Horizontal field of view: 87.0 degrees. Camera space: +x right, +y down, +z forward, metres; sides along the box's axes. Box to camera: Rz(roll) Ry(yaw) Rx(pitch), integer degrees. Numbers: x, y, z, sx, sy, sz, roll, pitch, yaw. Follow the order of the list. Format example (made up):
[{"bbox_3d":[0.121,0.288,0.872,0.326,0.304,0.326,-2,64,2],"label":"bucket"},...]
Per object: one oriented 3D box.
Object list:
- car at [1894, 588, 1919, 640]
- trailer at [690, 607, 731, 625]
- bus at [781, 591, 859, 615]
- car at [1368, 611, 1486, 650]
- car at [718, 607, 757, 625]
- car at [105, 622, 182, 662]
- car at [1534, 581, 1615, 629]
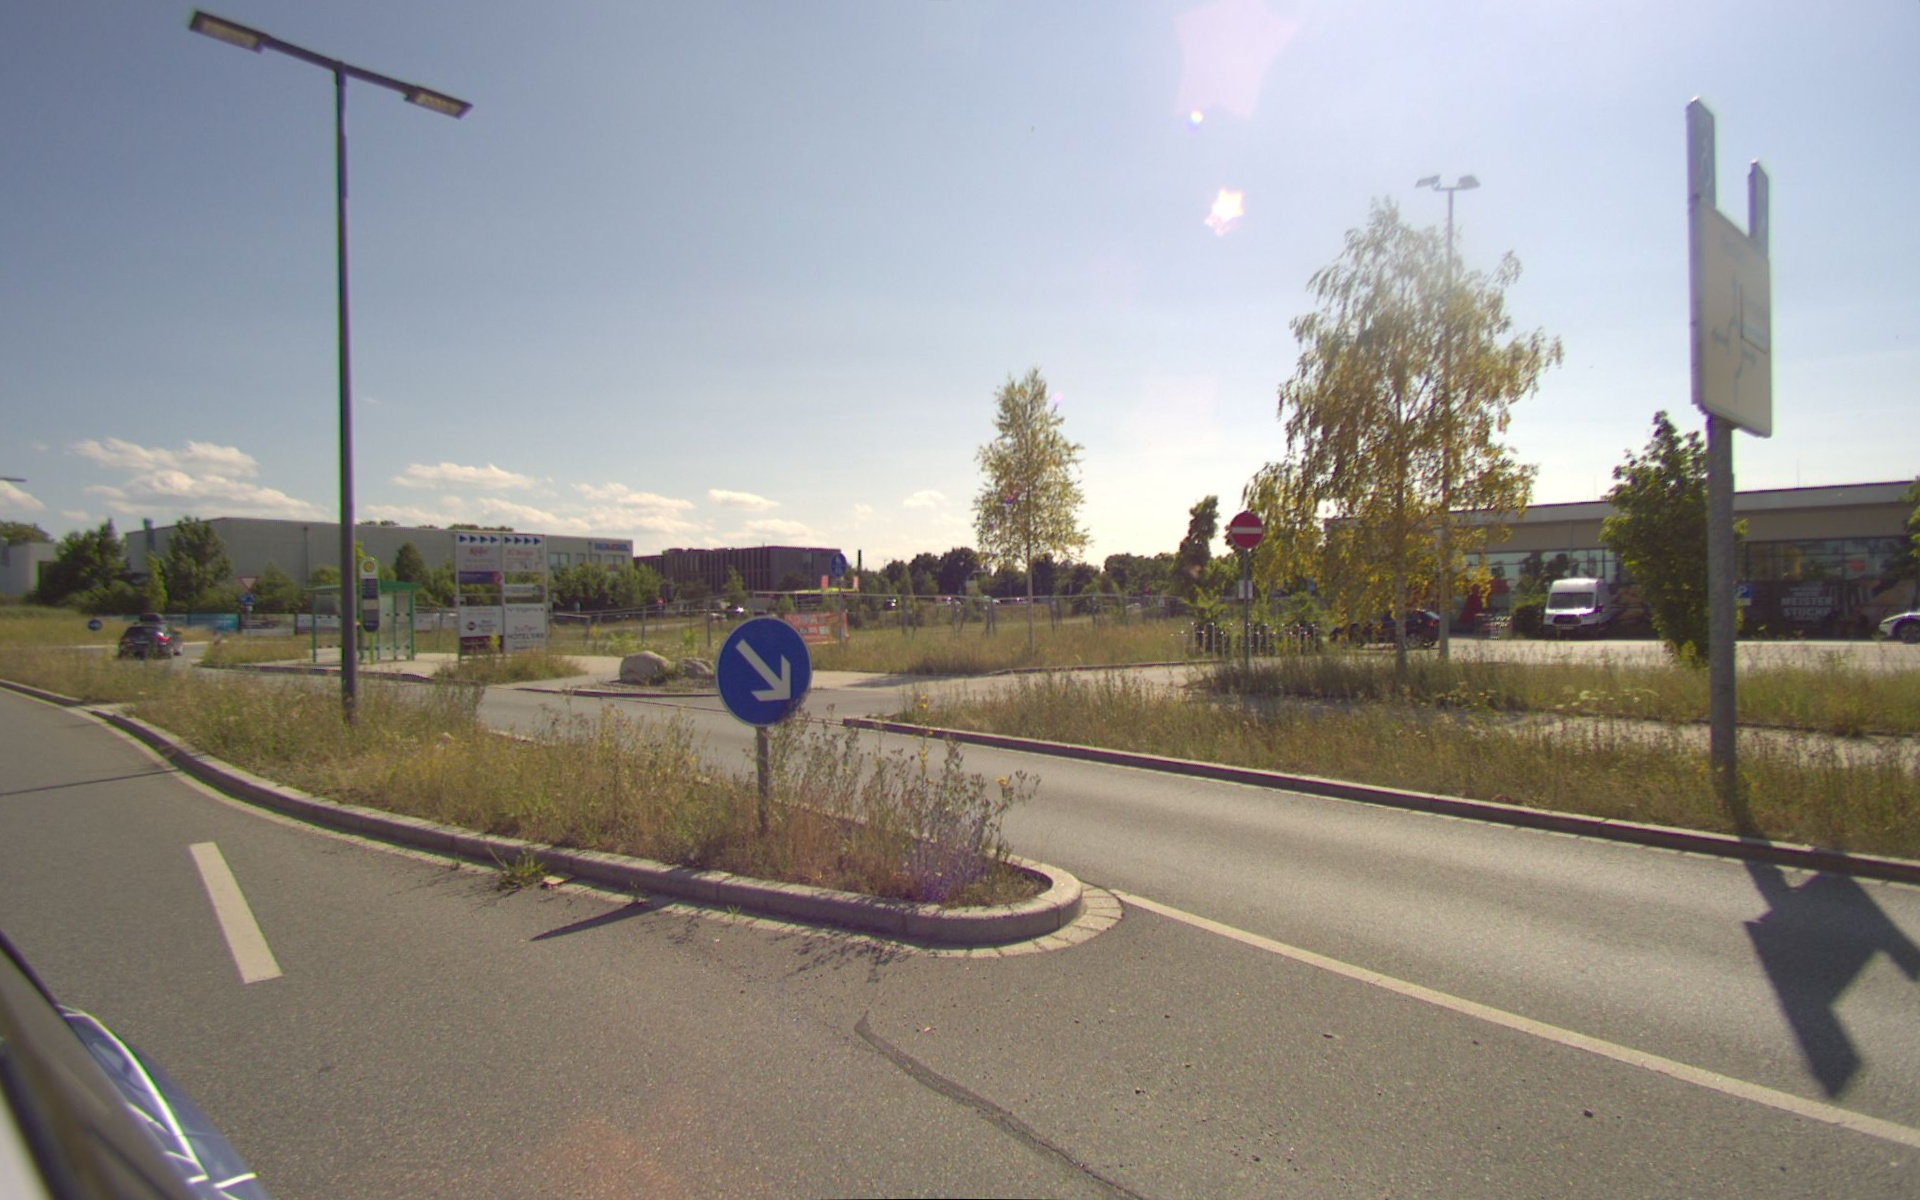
[{"bbox_3d":[33.616,0.470,33.047,1.846,1.719,4.490,1,-1,-43],"label":"car"},{"bbox_3d":[-26.055,1.674,105.763,1.822,1.874,3.956,0,-1,32],"label":"trailer"},{"bbox_3d":[-16.486,0.306,120.589,2.571,2.756,11.445,-1,0,31],"label":"bus"},{"bbox_3d":[17.958,1.123,38.980,3.842,1.434,1.748,-1,-1,40],"label":"car"},{"bbox_3d":[-23.941,1.705,109.074,1.822,1.874,3.956,0,-1,32],"label":"car"},{"bbox_3d":[-34.570,1.740,42.944,1.966,1.528,4.209,0,-1,-31],"label":"car"},{"bbox_3d":[27.723,0.234,45.525,2.227,1.992,6.609,-2,-1,39],"label":"car"}]
